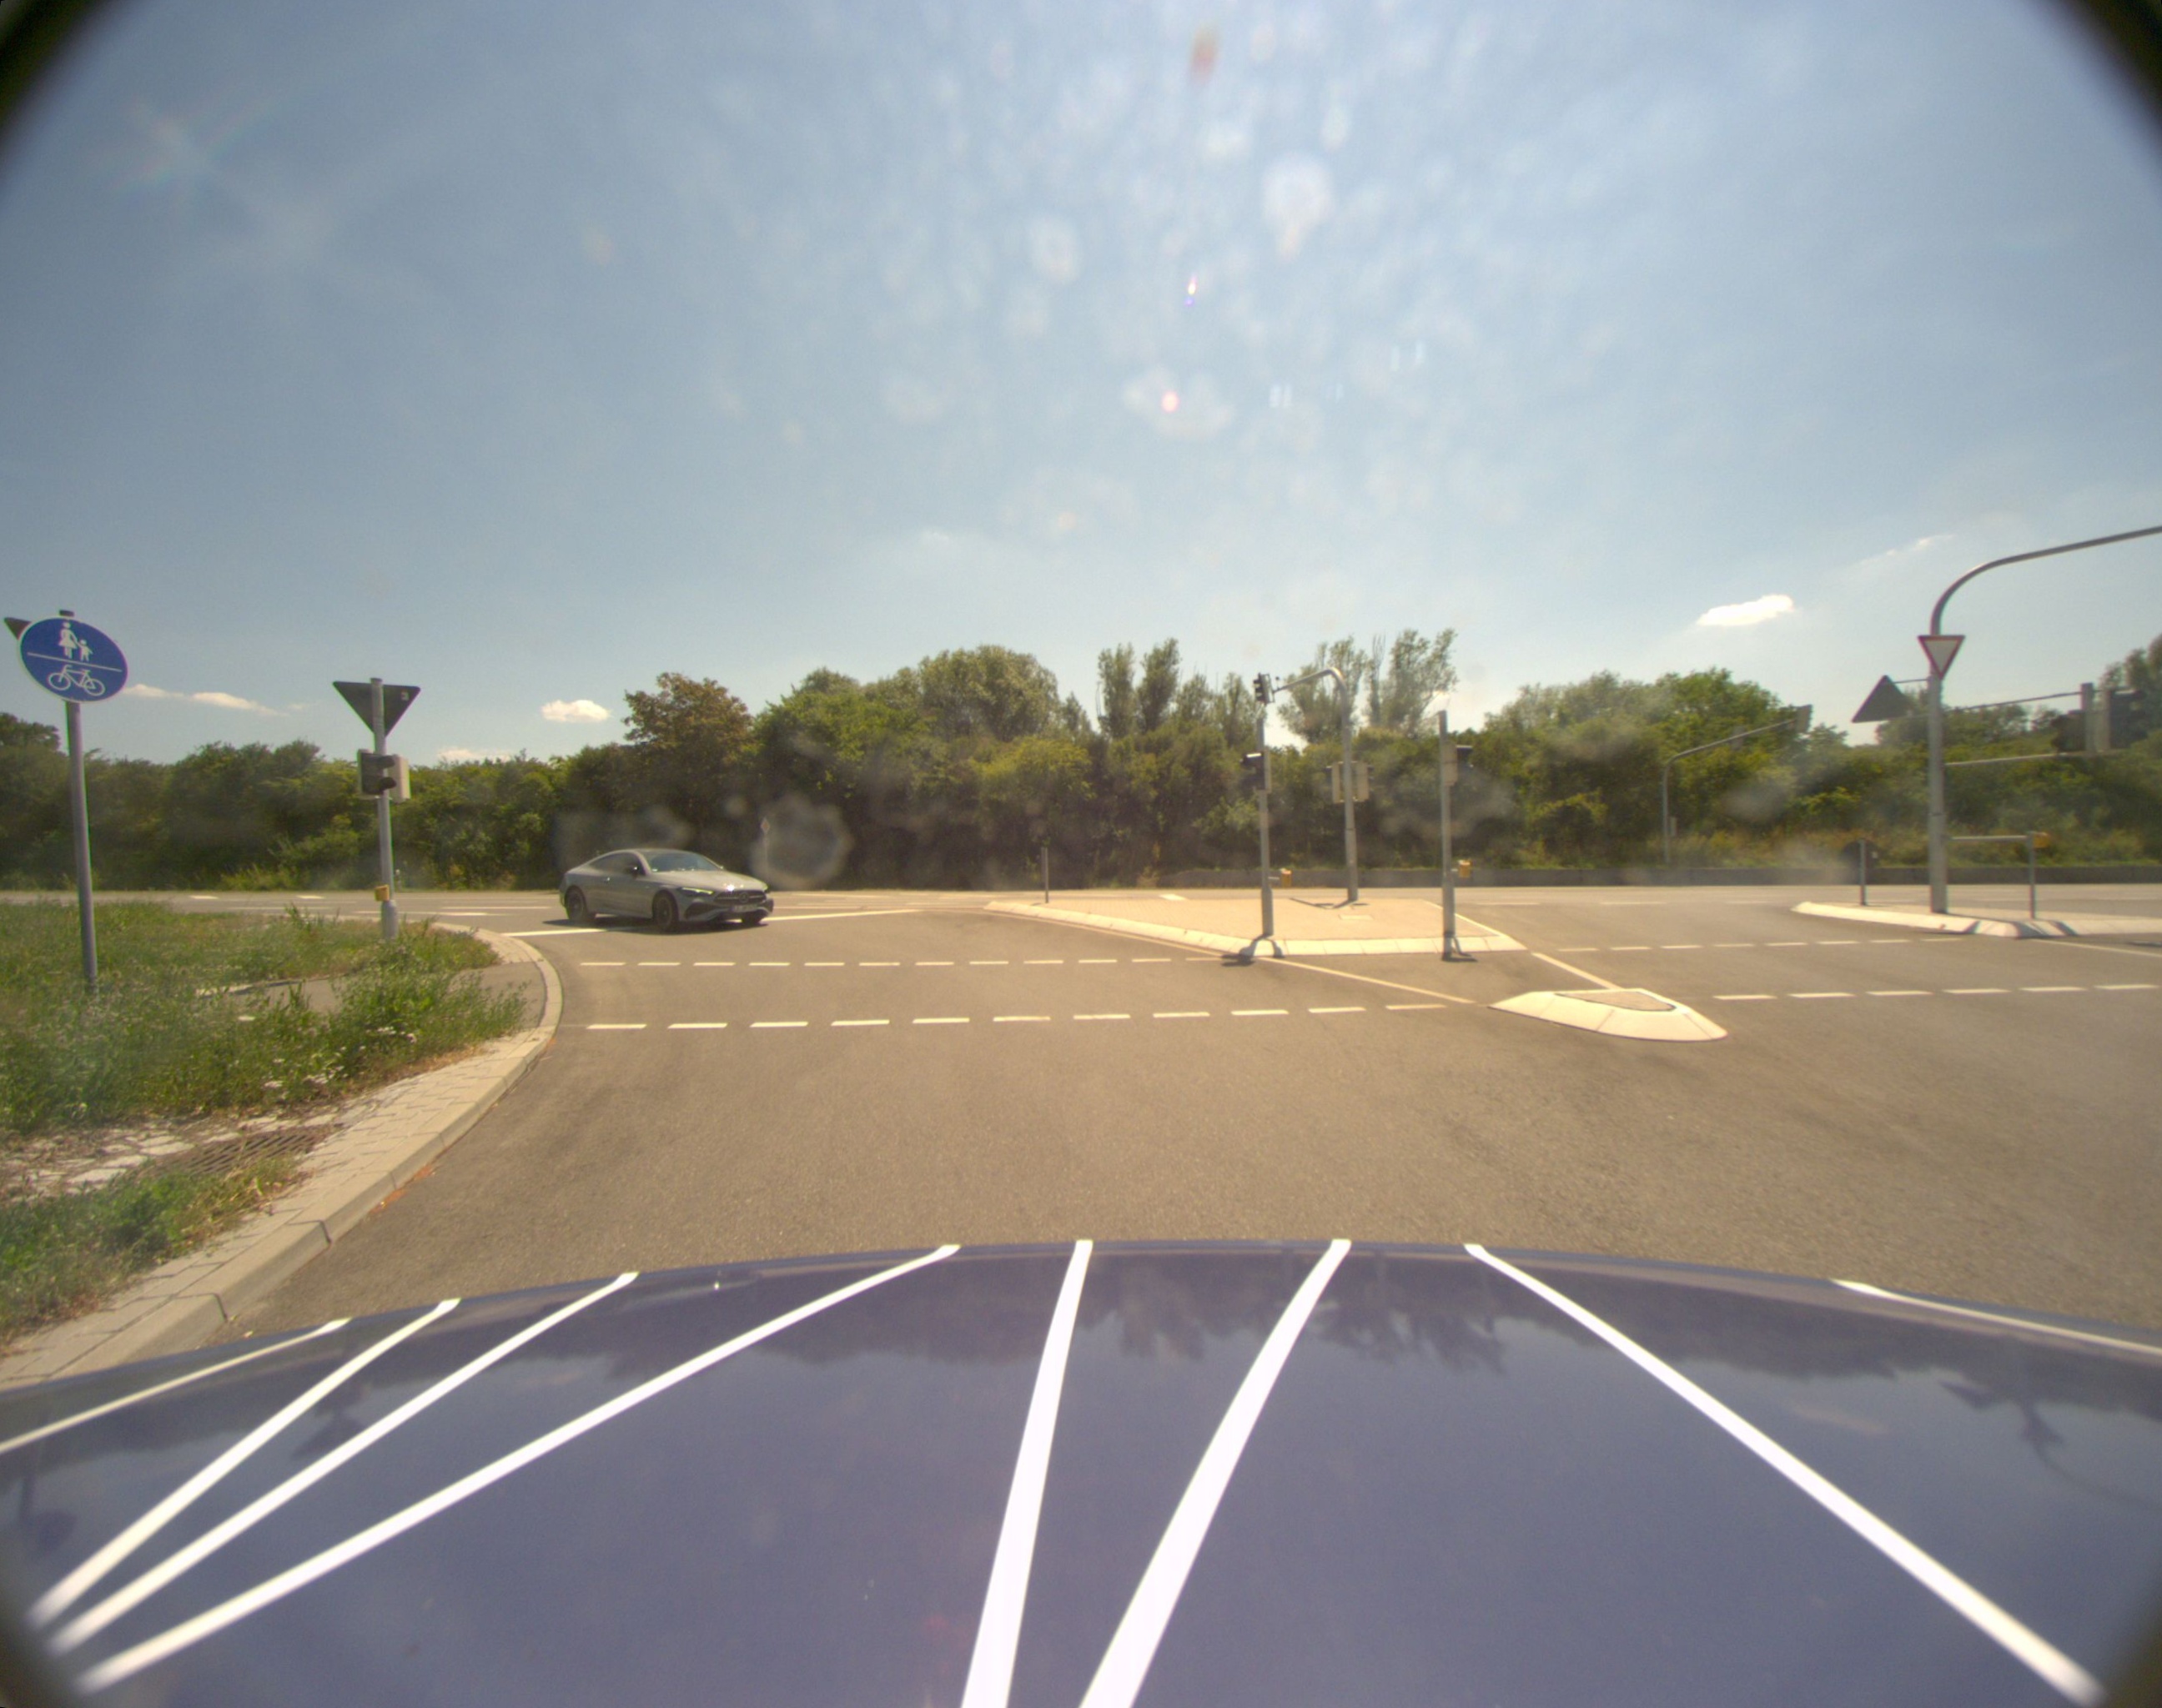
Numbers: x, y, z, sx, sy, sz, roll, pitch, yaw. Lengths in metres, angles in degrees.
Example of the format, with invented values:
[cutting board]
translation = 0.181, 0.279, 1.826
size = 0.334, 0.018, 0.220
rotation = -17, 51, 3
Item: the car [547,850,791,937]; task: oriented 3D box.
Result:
[car]
translation = -7.831, 0.662, 14.365
size = 4.470, 1.433, 1.927
rotation = 0, 0, 29
